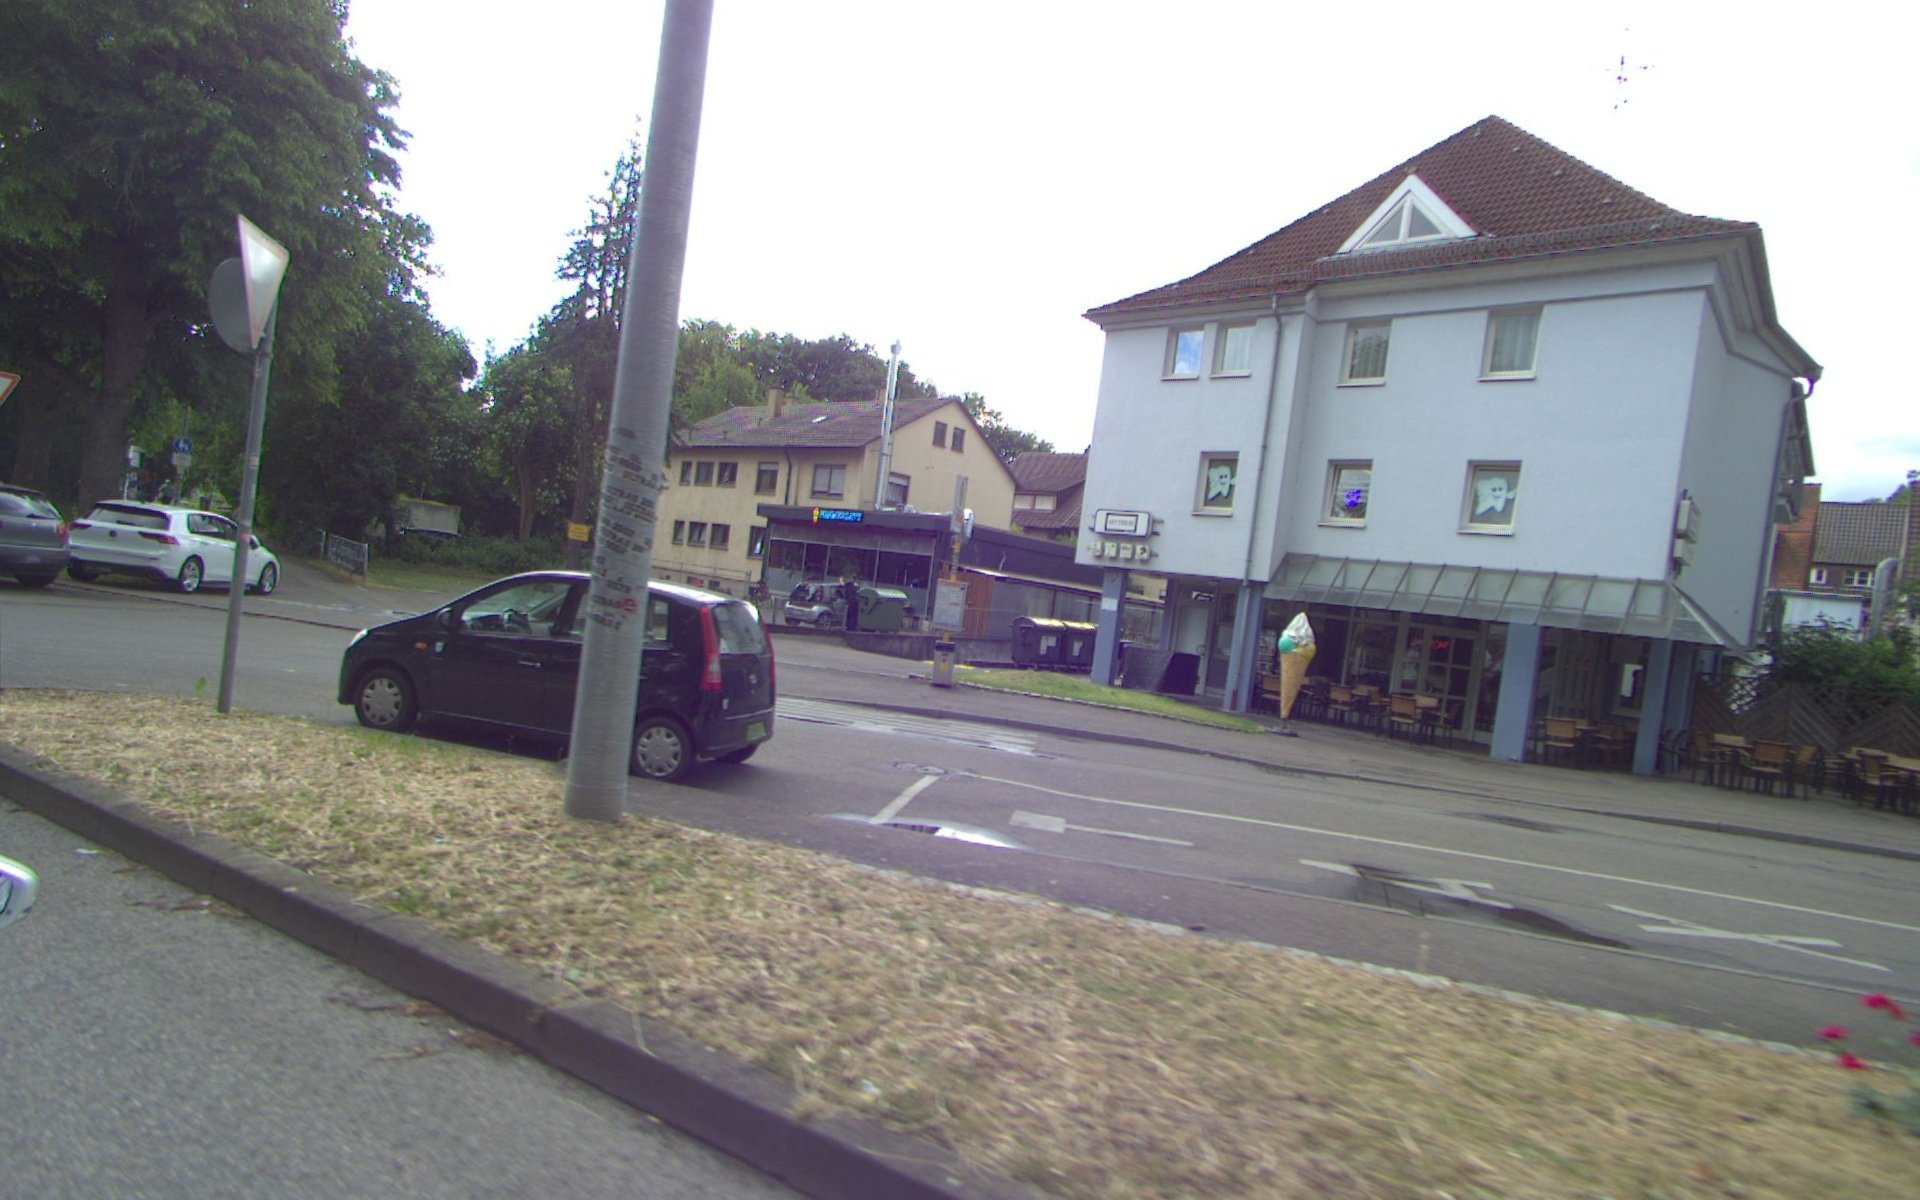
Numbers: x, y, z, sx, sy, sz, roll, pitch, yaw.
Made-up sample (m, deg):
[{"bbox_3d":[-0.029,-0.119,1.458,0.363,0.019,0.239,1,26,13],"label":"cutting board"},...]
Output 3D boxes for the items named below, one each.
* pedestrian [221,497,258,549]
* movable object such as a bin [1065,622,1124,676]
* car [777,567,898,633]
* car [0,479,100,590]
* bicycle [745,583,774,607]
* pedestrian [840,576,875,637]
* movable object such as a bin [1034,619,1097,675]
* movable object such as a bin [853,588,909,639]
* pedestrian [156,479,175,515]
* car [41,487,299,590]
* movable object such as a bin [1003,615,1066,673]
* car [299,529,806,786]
[{"bbox_3d":[-23.705,-2.524,33.102,0.731,1.571,0.683,9,2,37],"label":"pedestrian"},{"bbox_3d":[3.964,1.446,29.654,1.210,1.413,1.081,6,1,-43],"label":"movable object such as a bin"},{"bbox_3d":[-3.804,0.020,31.511,1.603,1.651,3.405,7,1,44],"label":"car"},{"bbox_3d":[-15.183,-1.199,14.497,4.037,1.446,1.733,9,1,3],"label":"car"},{"bbox_3d":[-7.867,-0.181,39.548,0.405,0.887,1.966,7,1,8],"label":"bicycle"},{"bbox_3d":[-3.129,0.205,30.749,0.602,1.751,0.686,7,2,37],"label":"pedestrian"},{"bbox_3d":[3.026,1.334,28.754,1.210,1.413,1.147,6,1,-43],"label":"movable object such as a bin"},{"bbox_3d":[-2.352,0.422,30.128,0.980,1.362,1.215,7,1,37],"label":"movable object such as a bin"},{"bbox_3d":[-36.305,-4.720,45.970,0.509,1.550,0.768,6,1,-43],"label":"pedestrian"},{"bbox_3d":[-14.003,-1.021,18.203,1.735,1.397,4.253,8,0,-10],"label":"car"},{"bbox_3d":[2.054,1.219,27.817,1.210,1.434,1.081,6,1,-43],"label":"movable object such as a bin"},{"bbox_3d":[-3.233,0.414,8.296,3.428,1.422,1.573,8,1,9],"label":"car"}]
